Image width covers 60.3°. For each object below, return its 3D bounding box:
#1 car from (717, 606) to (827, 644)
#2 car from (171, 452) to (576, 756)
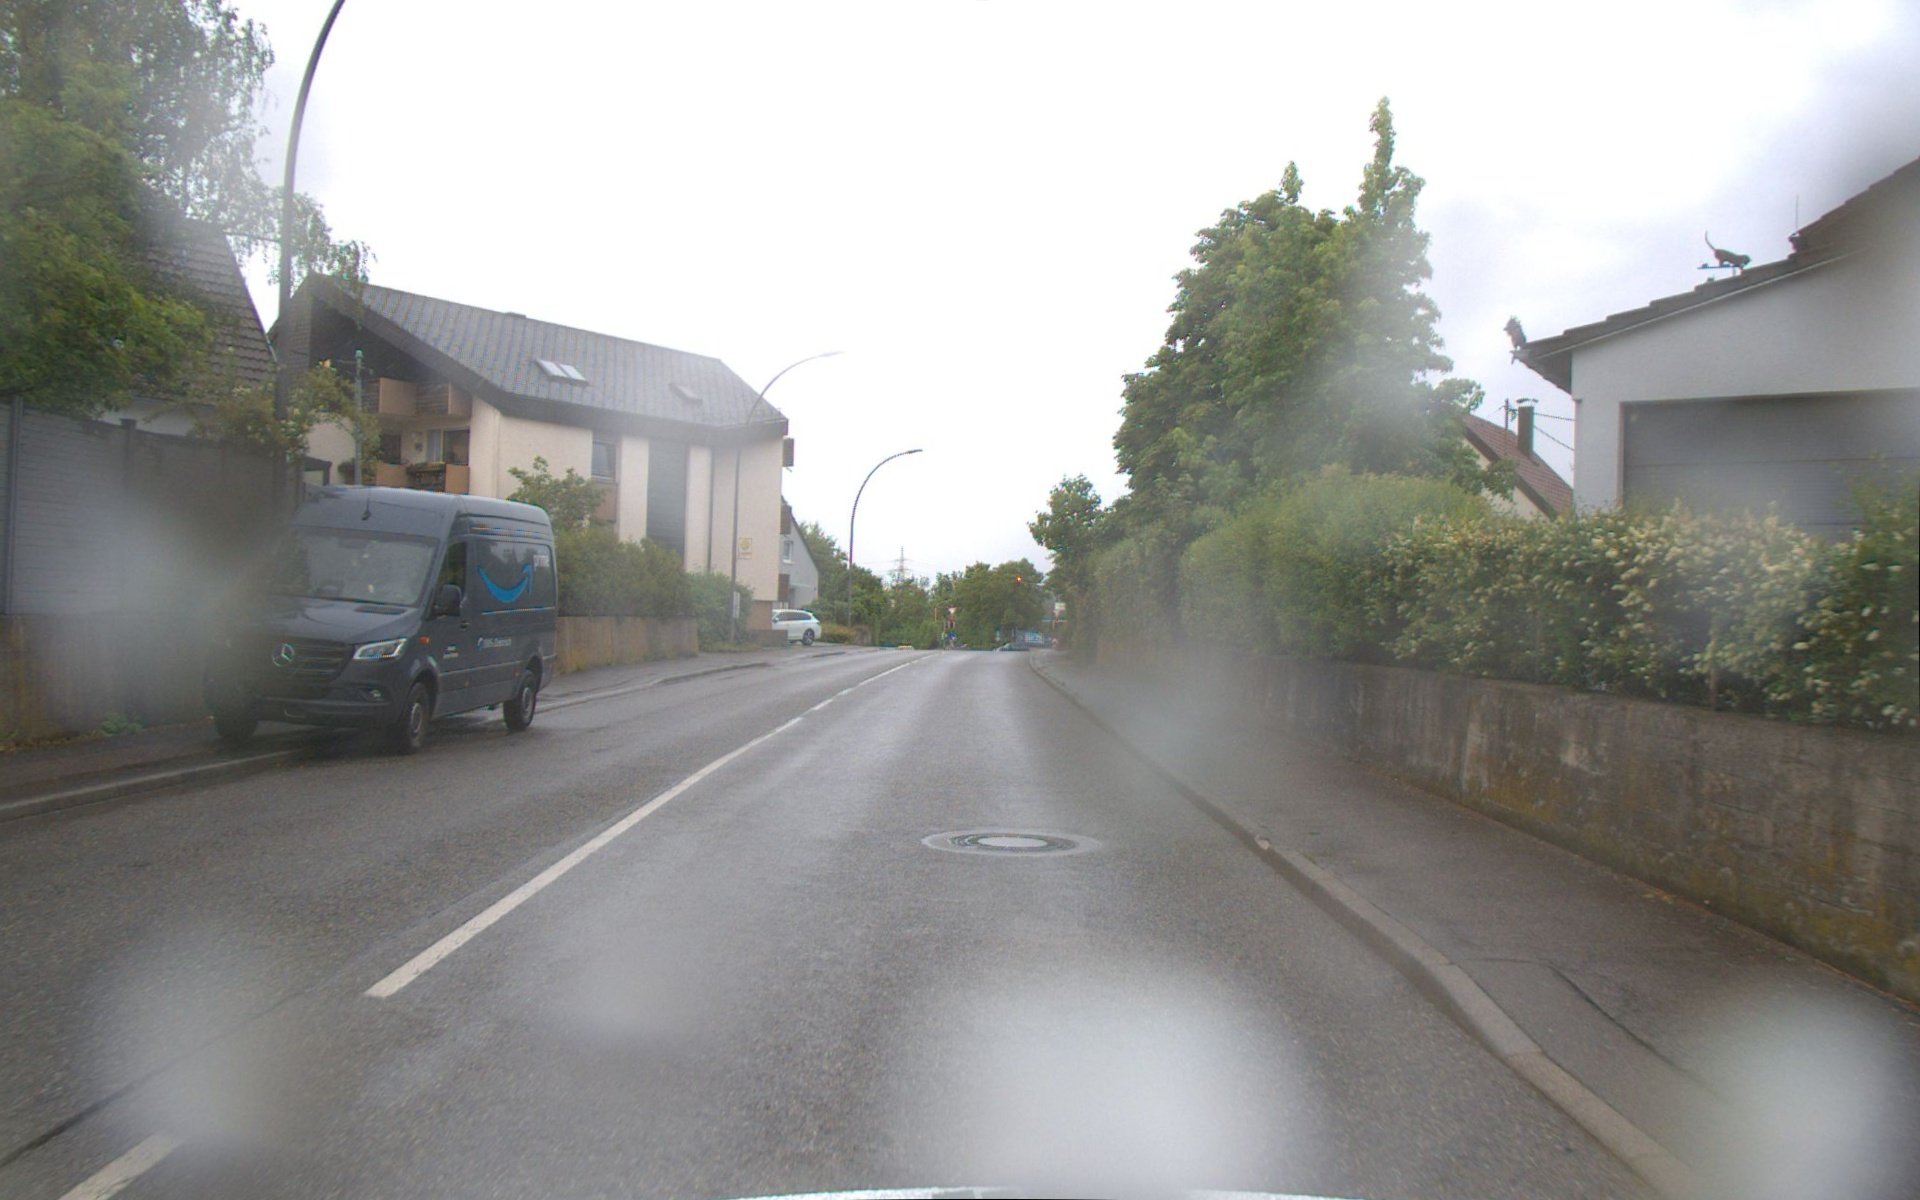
[{"bbox_3d":[-7.937,1.070,70.384,1.869,1.503,4.863,2,0,35],"label":"car"},{"bbox_3d":[-6.054,0.048,18.085,2.051,2.695,5.919,2,0,2],"label":"car"}]
